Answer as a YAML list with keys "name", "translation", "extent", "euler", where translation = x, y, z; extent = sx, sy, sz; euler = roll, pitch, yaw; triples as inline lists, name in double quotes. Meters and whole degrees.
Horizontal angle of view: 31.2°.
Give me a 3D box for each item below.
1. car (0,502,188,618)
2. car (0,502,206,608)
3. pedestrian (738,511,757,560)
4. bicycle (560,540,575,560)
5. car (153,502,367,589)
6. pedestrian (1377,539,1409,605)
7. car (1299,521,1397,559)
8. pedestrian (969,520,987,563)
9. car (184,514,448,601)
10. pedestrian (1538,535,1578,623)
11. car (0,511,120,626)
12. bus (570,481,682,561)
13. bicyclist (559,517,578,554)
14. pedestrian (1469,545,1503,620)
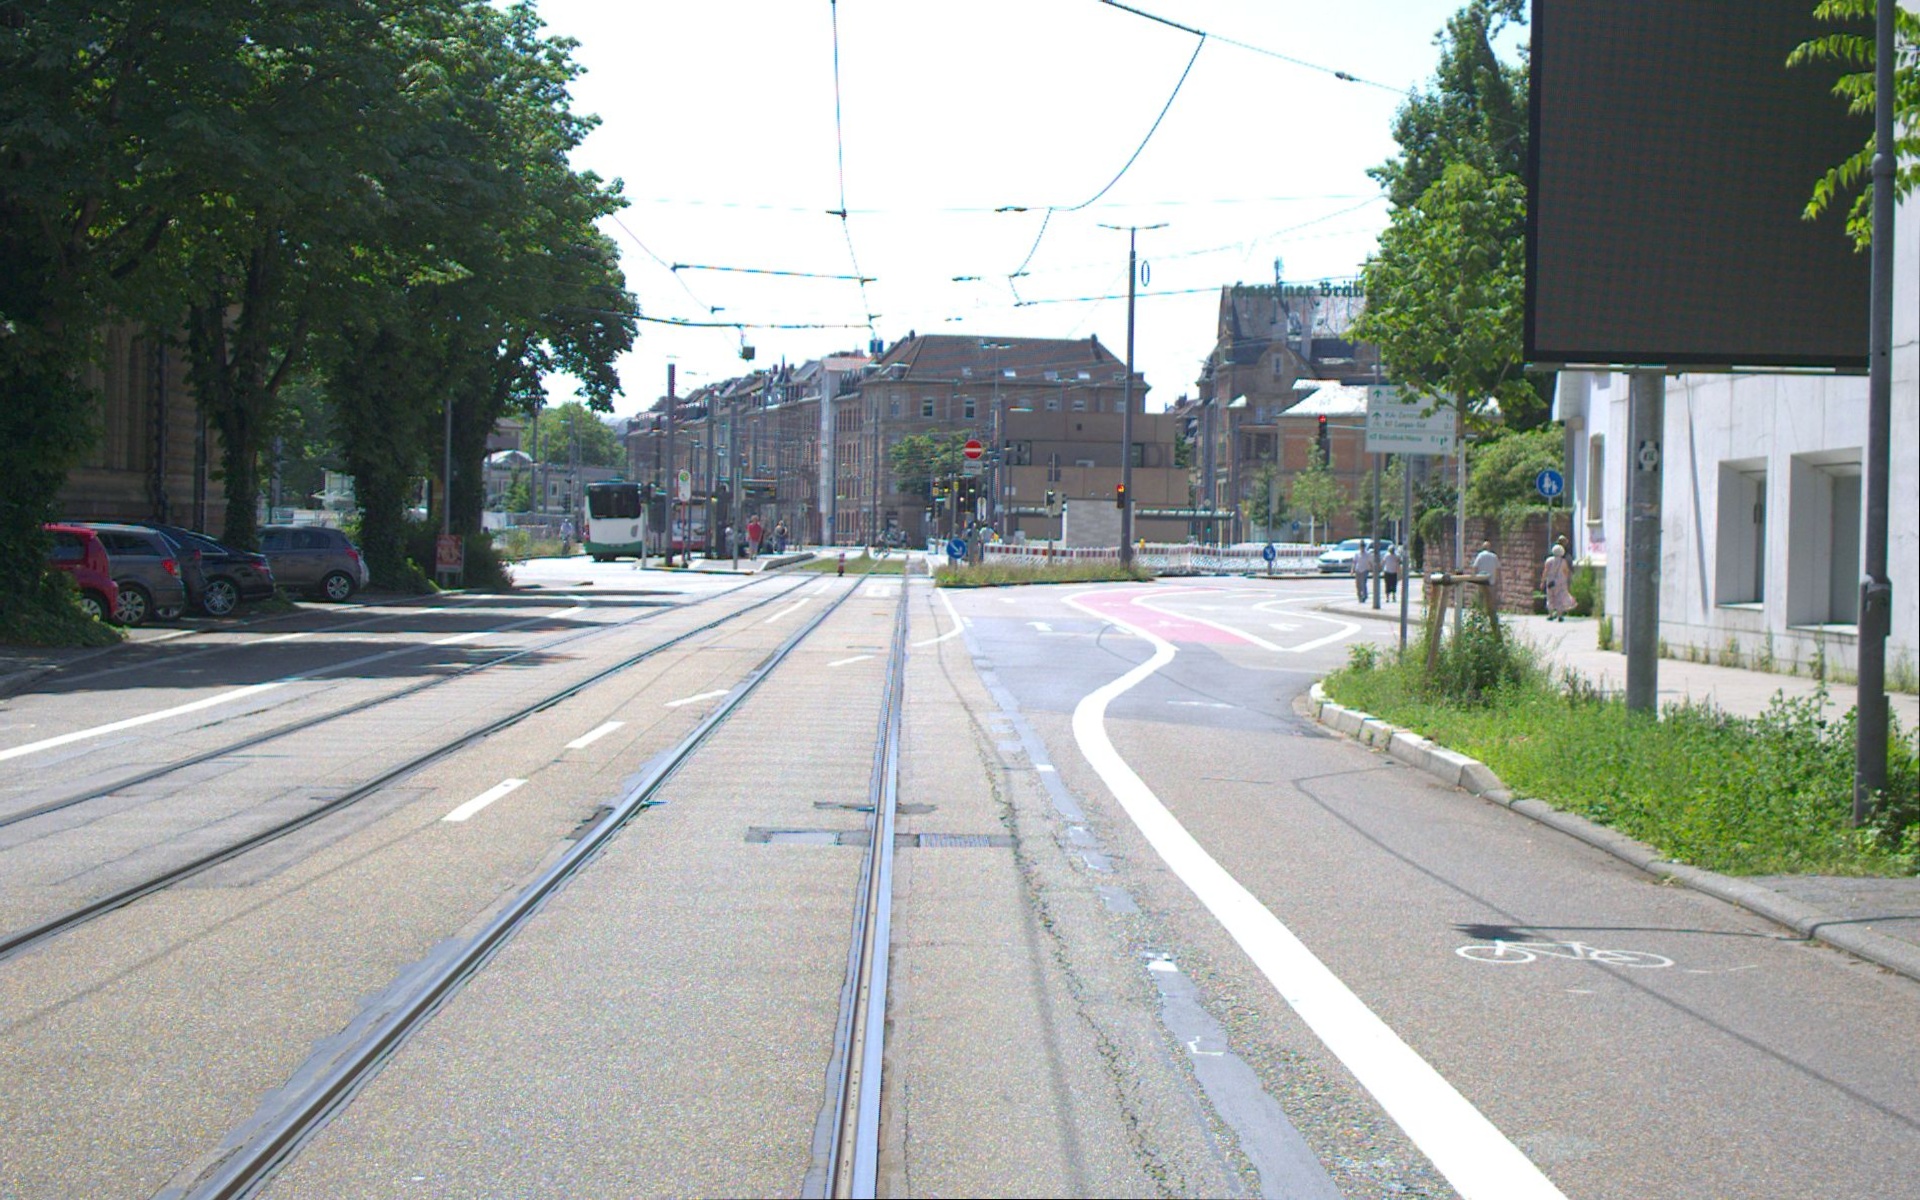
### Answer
- name: "car"
  translation: [-13.591, -0.620, 49.905]
  extent: [4.307, 1.579, 1.669]
  euler: [2, 1, -30]
- name: "car"
  translation: [-13.726, -0.704, 52.810]
  extent: [3.805, 1.571, 1.794]
  euler: [0, 2, -30]
- name: "pedestrian"
  translation: [-8.331, -2.530, 134.881]
  extent: [0.672, 1.903, 0.641]
  euler: [1, 1, -10]
- name: "bicycle"
  translation: [-18.500, -2.374, 162.127]
  extent: [0.503, 0.911, 2.371]
  euler: [1, 1, -2]
- name: "car"
  translation: [-13.505, -1.045, 66.353]
  extent: [3.664, 1.514, 1.670]
  euler: [2, 1, -29]
- name: "pedestrian"
  translation: [12.132, -0.789, 96.259]
  extent: [0.814, 1.801, 0.700]
  euler: [1, 1, 4]
- name: "car"
  translation: [15.700, -2.402, 139.026]
  extent: [1.997, 1.433, 4.696]
  euler: [2, 1, 34]
- name: "pedestrian"
  translation: [0.703, -2.302, 135.096]
  extent: [0.526, 1.669, 0.752]
  euler: [2, 0, -8]
- name: "car"
  translation: [-10.521, -0.695, 56.180]
  extent: [3.920, 1.369, 1.670]
  euler: [0, 2, -26]
- name: "pedestrian"
  translation: [12.359, -0.440, 71.018]
  extent: [0.627, 1.767, 0.718]
  euler: [5, 1, 14]
- name: "car"
  translation: [-13.355, -0.470, 46.935]
  extent: [3.341, 1.511, 1.670]
  euler: [2, 1, -26]
- name: "bus"
  translation: [-14.066, -3.340, 146.086]
  extent: [3.010, 3.147, 17.499]
  euler: [1, 1, 0]
- name: "bicyclist"
  translation: [-18.477, -3.033, 162.163]
  extent: [0.820, 1.704, 0.770]
  euler: [1, 1, -2]
- name: "pedestrian"
  translation: [11.661, -0.389, 76.235]
  extent: [0.661, 1.641, 0.624]
  euler: [1, 1, 5]
